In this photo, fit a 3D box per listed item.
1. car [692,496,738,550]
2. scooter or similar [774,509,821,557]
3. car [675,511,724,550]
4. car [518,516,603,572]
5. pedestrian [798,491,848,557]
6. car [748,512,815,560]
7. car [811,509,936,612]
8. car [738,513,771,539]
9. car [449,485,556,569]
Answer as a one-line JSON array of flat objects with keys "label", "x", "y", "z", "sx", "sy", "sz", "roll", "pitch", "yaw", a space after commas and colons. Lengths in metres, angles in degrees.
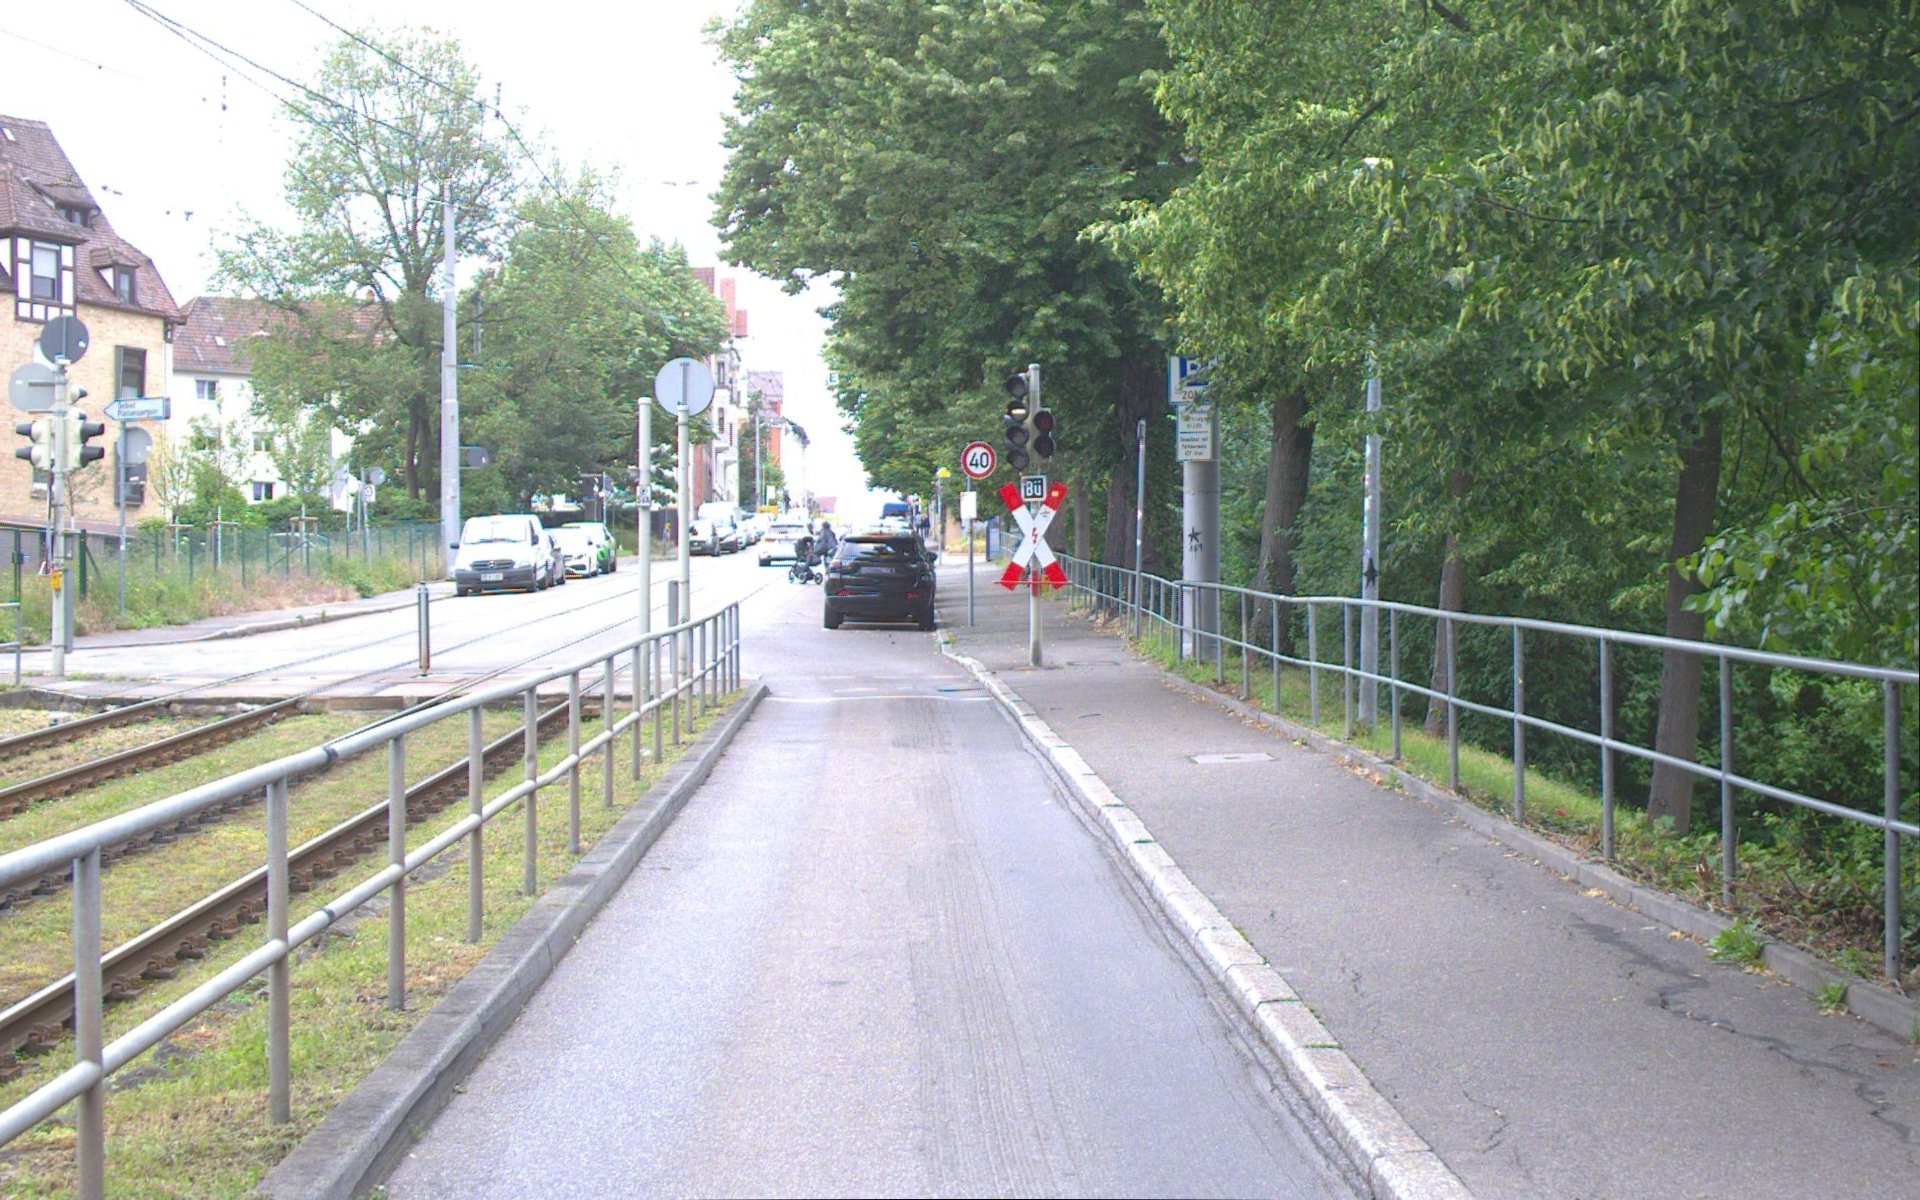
[{"label": "car", "x": -12.665, "y": -3.962, "z": 178.157, "sx": 2.230, "sy": 2.755, "sz": 5.800, "roll": 1, "pitch": 1, "yaw": -3}, {"label": "scooter or similar", "x": -4.044, "y": -1.673, "z": 85.788, "sx": 0.838, "sy": 1.192, "sz": 0.805, "roll": 1, "pitch": 1, "yaw": 41}, {"label": "car", "x": -12.372, "y": -3.294, "z": 163.674, "sx": 1.993, "sy": 1.802, "sz": 4.000, "roll": 1, "pitch": 1, "yaw": 1}, {"label": "car", "x": -11.295, "y": -1.599, "z": 97.433, "sx": 1.885, "sy": 1.520, "sz": 4.664, "roll": -1, "pitch": 1, "yaw": -1}, {"label": "pedestrian", "x": -3.390, "y": -1.878, "z": 85.227, "sx": 0.915, "sy": 1.623, "sz": 0.805, "roll": 1, "pitch": 1, "yaw": 41}, {"label": "car", "x": -5.681, "y": -2.036, "z": 109.801, "sx": 1.993, "sy": 1.493, "sz": 4.312, "roll": 1, "pitch": 1, "yaw": -1}, {"label": "car", "x": -1.401, "y": -0.684, "z": 57.386, "sx": 1.904, "sy": 1.609, "sz": 4.600, "roll": 1, "pitch": 1, "yaw": 0}, {"label": "car", "x": -13.262, "y": -4.764, "z": 221.987, "sx": 1.924, "sy": 1.596, "sz": 4.000, "roll": 1, "pitch": 1, "yaw": -1}, {"label": "car", "x": -11.032, "y": -1.740, "z": 83.256, "sx": 2.035, "sy": 1.875, "sz": 4.886, "roll": -3, "pitch": 1, "yaw": -2}]
